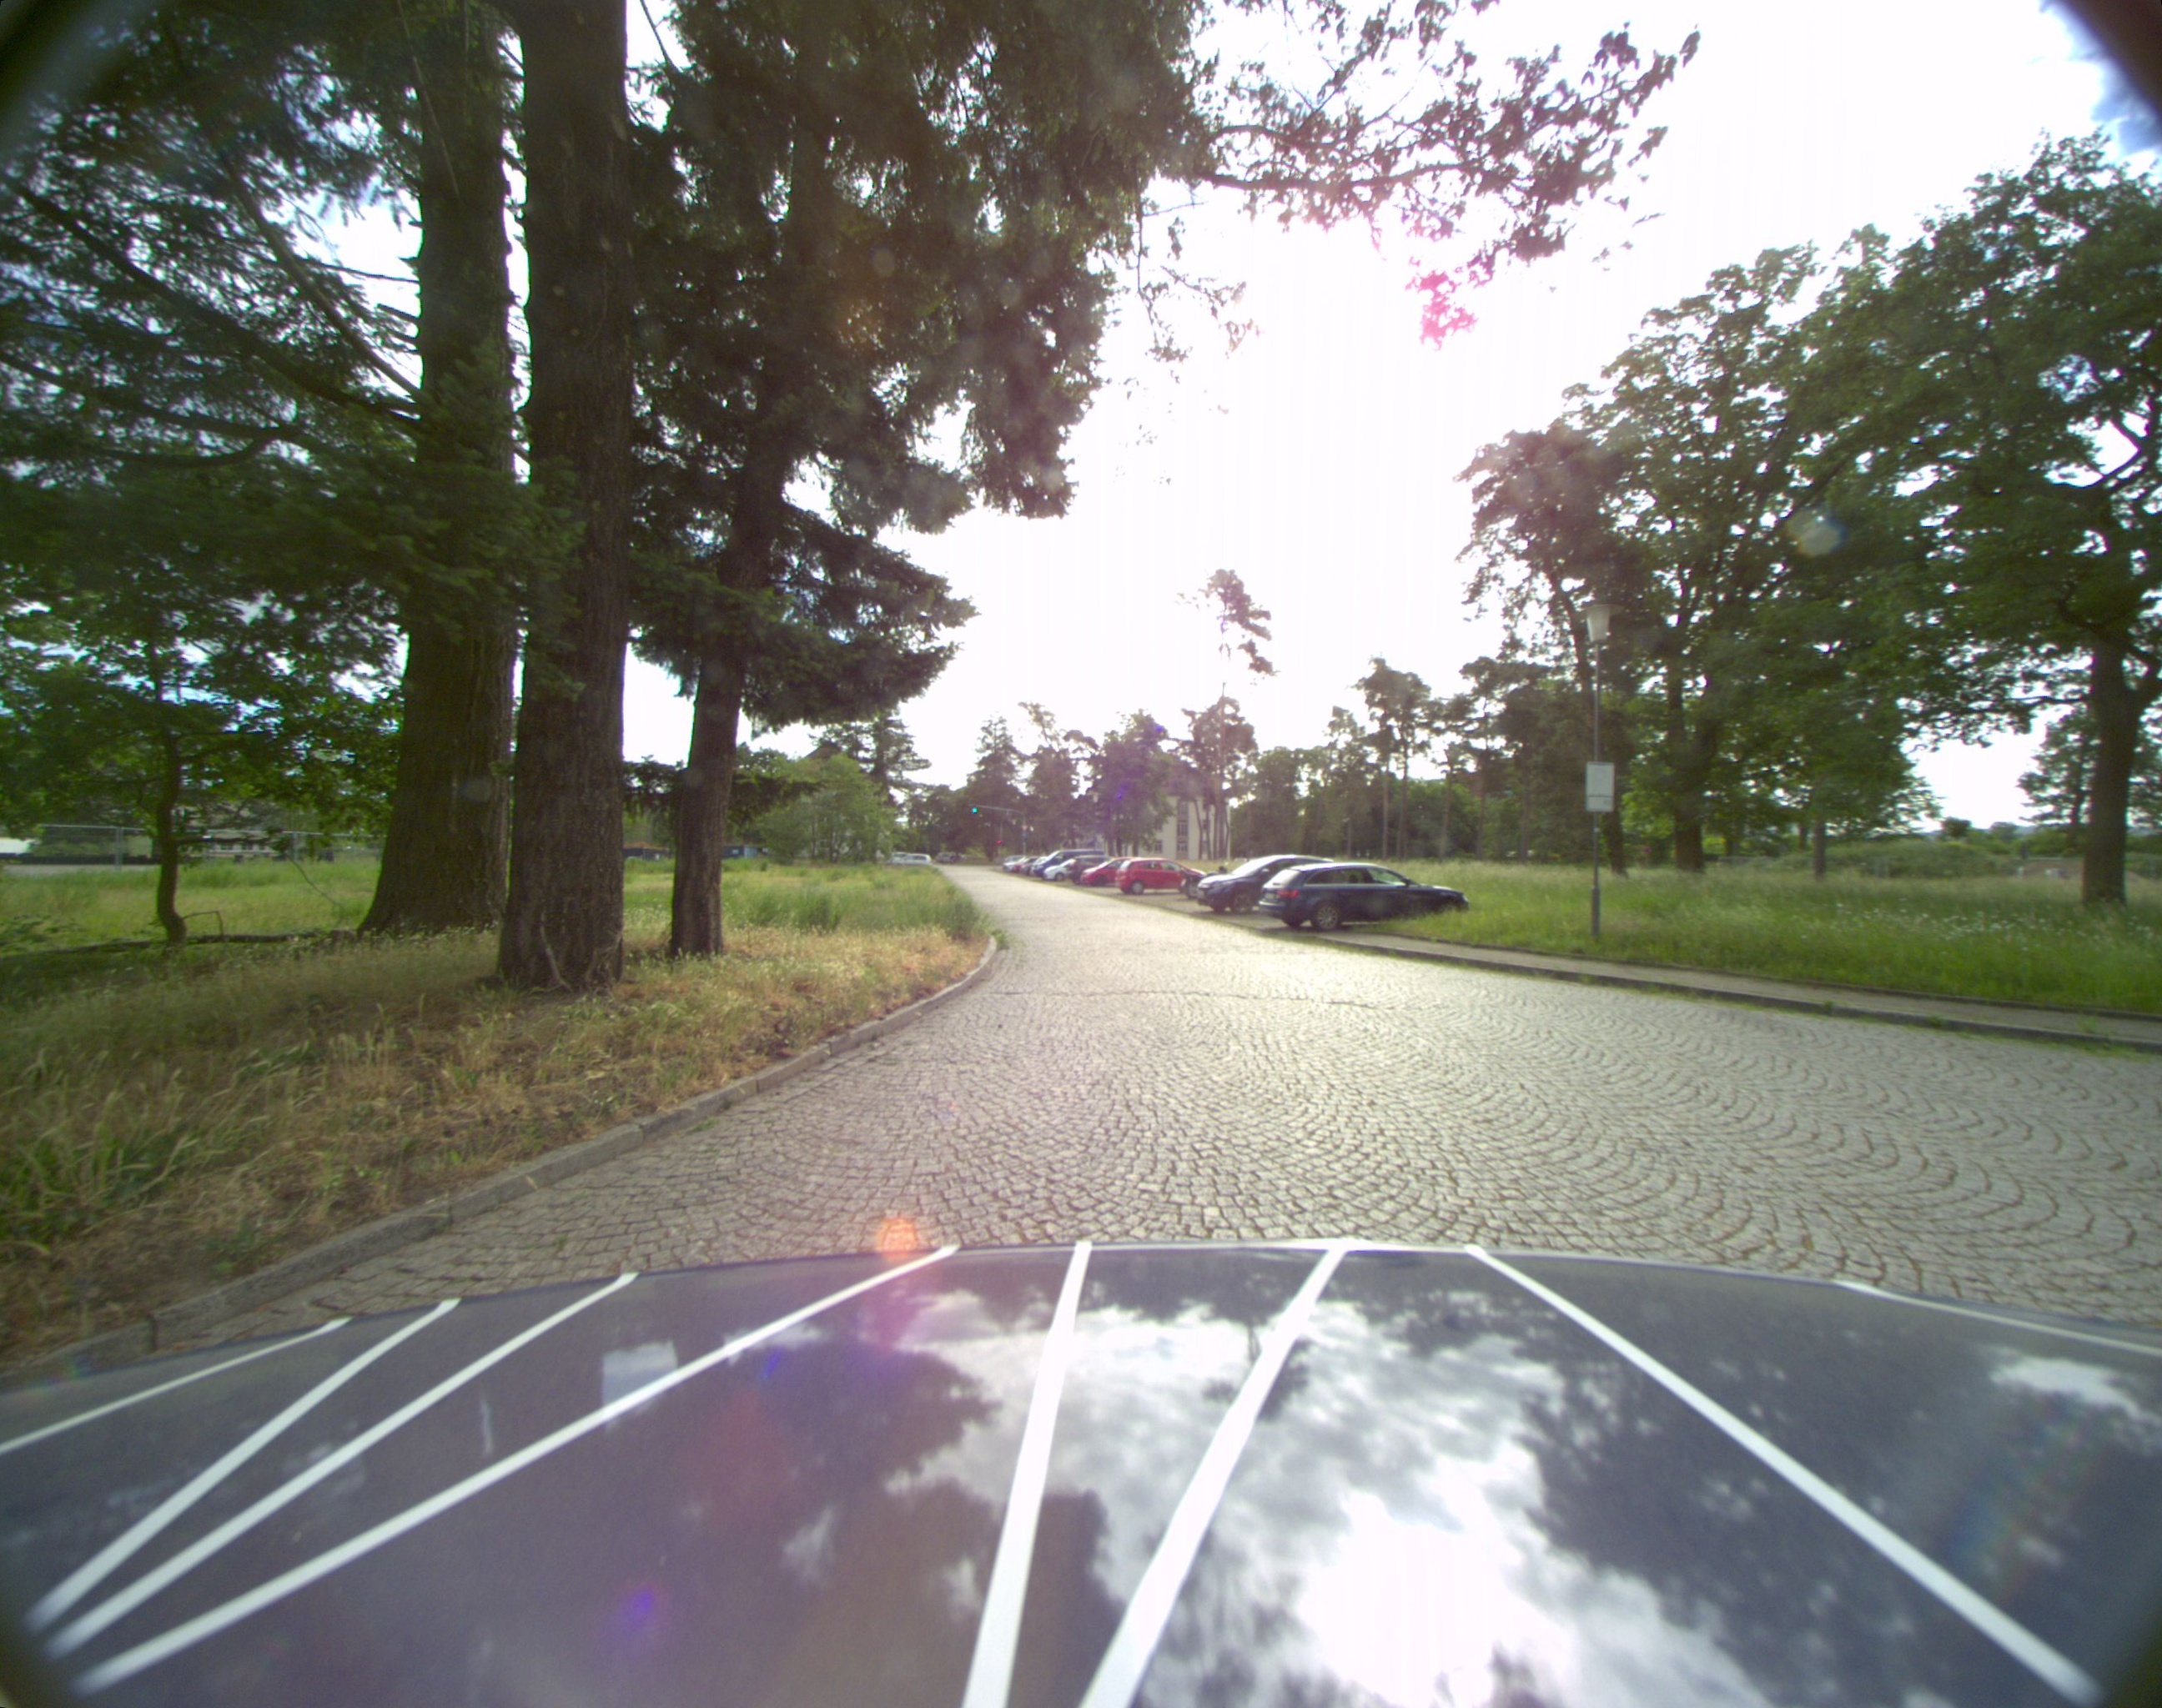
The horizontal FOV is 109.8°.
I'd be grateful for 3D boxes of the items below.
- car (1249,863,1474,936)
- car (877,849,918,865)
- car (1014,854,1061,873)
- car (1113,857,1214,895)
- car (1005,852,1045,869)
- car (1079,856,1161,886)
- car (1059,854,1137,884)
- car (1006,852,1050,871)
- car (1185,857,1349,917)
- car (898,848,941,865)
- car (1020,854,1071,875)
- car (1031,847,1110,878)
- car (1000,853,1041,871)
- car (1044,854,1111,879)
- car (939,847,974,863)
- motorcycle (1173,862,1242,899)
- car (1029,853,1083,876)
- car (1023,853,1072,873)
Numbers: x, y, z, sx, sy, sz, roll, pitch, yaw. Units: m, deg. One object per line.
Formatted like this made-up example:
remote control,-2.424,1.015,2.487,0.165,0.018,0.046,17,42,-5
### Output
car,6.168,0.953,16.896,4.446,1.471,1.681,0,0,-9
car,-18.249,0.244,75.529,3.735,1.430,1.623,-2,2,-20
car,-3.629,0.793,63.872,3.576,1.408,1.635,-3,2,-19
car,3.421,0.897,31.729,3.898,1.470,1.670,-1,0,-13
car,-5.475,0.600,73.980,3.458,1.424,1.625,-3,2,-22
car,1.980,0.850,39.234,3.955,1.511,1.705,0,0,-12
car,0.898,0.828,41.771,3.921,1.594,1.818,1,0,-15
car,-4.771,0.659,68.412,3.576,1.479,1.599,-3,2,-20
car,5.248,0.893,21.580,4.153,1.564,1.788,0,1,-13
car,-15.070,0.254,70.773,3.734,1.430,1.624,-2,2,-16
car,-2.736,0.786,58.564,3.604,1.413,1.615,-2,2,-19
car,-0.689,0.532,50.532,4.838,1.855,2.158,-2,2,-14
car,-5.689,0.736,71.158,3.575,1.450,1.624,-2,2,-14
car,-0.251,0.781,48.068,3.934,1.385,1.740,-2,2,-14
car,-22.747,0.163,138.635,5.803,2.548,2.765,-2,2,-17
motorcycle,4.561,0.947,27.427,2.364,1.280,0.743,0,0,-12
car,-1.826,0.755,56.015,3.603,1.446,1.685,-3,2,-19
car,-2.710,0.723,61.604,3.576,1.426,1.603,-3,2,-19
